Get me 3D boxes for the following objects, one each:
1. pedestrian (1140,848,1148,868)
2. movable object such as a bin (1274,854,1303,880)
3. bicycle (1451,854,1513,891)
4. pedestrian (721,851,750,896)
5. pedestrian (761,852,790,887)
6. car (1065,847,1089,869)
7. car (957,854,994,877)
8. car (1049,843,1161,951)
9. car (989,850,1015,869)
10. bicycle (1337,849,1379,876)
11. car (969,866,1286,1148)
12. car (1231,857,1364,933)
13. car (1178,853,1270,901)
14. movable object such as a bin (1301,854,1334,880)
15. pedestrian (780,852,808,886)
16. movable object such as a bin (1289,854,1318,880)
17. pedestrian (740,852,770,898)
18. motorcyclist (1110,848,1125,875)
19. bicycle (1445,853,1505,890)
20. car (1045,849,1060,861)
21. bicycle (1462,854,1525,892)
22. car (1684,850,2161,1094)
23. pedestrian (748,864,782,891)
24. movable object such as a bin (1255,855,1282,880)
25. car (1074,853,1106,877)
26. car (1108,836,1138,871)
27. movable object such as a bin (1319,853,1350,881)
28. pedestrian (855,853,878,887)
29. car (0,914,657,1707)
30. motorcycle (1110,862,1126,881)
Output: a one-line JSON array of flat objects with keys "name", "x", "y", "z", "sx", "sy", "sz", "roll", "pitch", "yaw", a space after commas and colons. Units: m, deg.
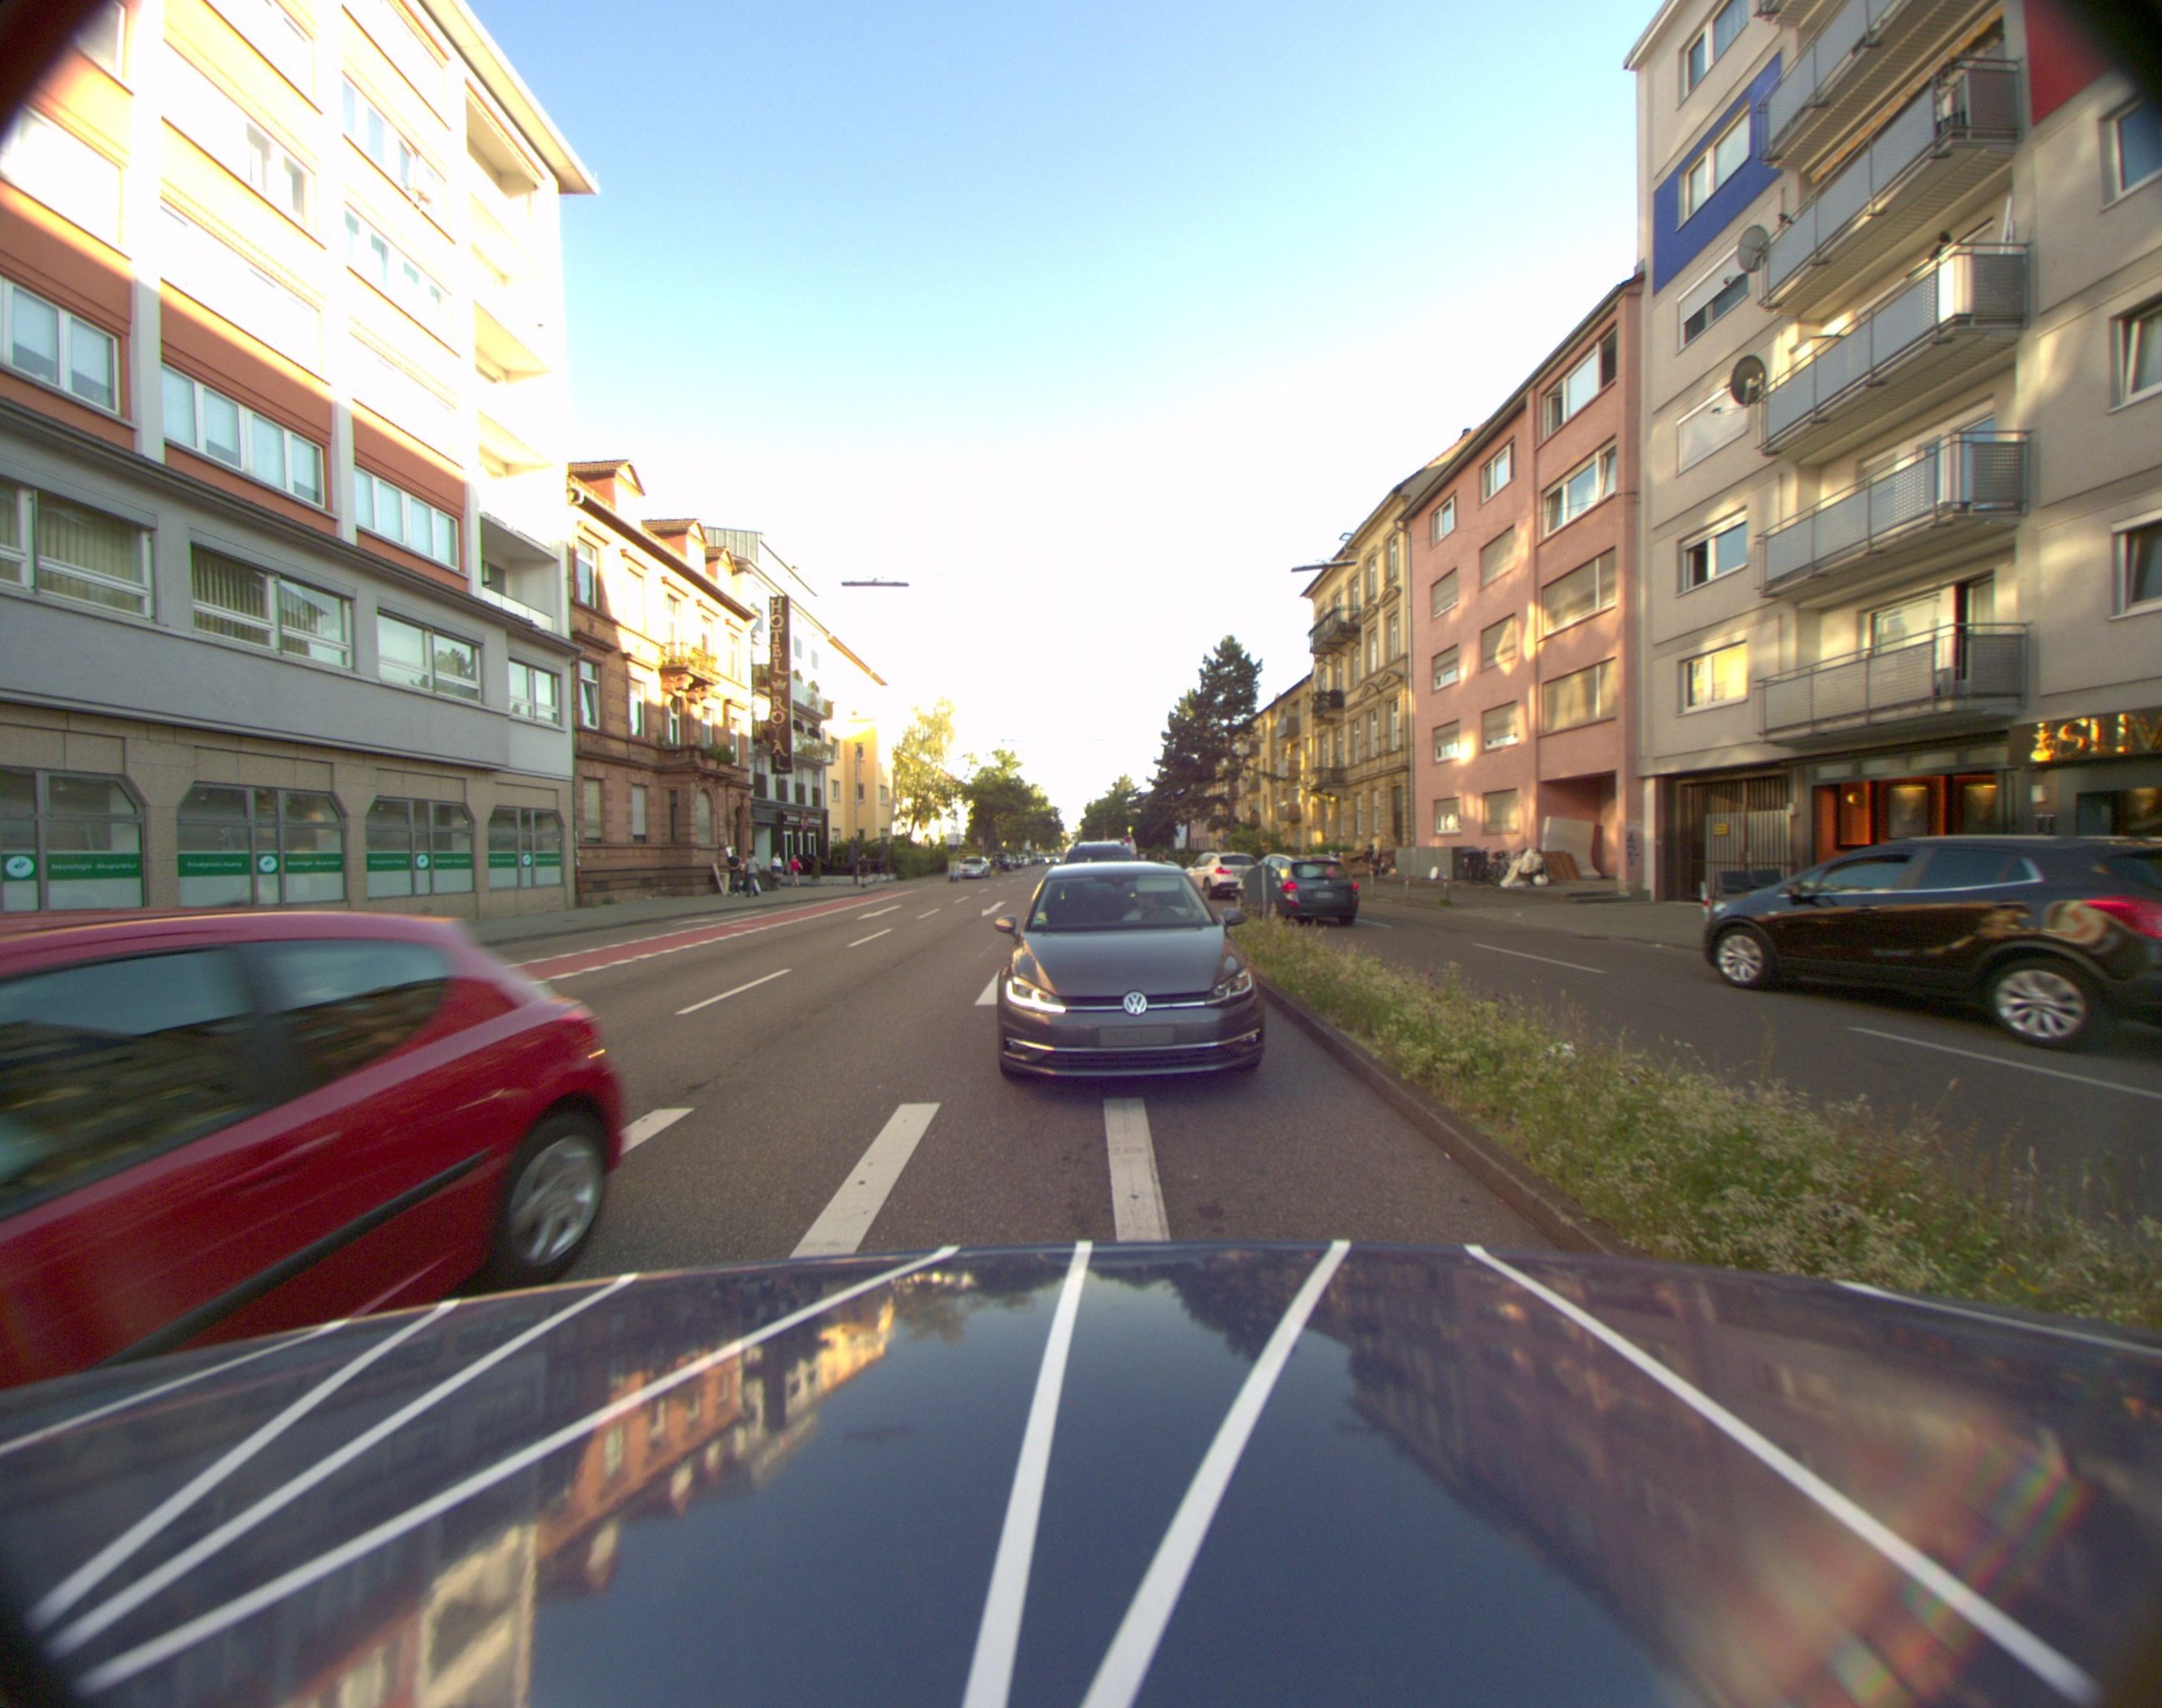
[{"name": "pedestrian", "x": 5.019, "y": 0.324, "z": 60.402, "sx": 0.577, "sy": 1.591, "sz": 0.481, "roll": -1, "pitch": 1, "yaw": 1}, {"name": "movable object such as a bin", "x": 10.332, "y": 0.632, "z": 37.773, "sx": 1.196, "sy": 1.225, "sz": 0.847, "roll": -2, "pitch": 1, "yaw": -40}, {"name": "bicycle", "x": 13.169, "y": 0.596, "z": 24.974, "sx": 1.780, "sy": 1.184, "sz": 0.473, "roll": -1, "pitch": 1, "yaw": -2}, {"name": "pedestrian", "x": -13.398, "y": 0.755, "z": 29.483, "sx": 0.668, "sy": 1.716, "sz": 1.010, "roll": -1, "pitch": 1, "yaw": -5}, {"name": "pedestrian", "x": -14.430, "y": 0.717, "z": 35.937, "sx": 1.008, "sy": 1.579, "sz": 0.789, "roll": 4, "pitch": 1, "yaw": 34}, {"name": "car", "x": -0.405, "y": 0.318, "z": 65.767, "sx": 1.895, "sy": 1.843, "sz": 4.699, "roll": 0, "pitch": 0, "yaw": -2}, {"name": "car", "x": -7.348, "y": 0.780, "z": 53.205, "sx": 1.905, "sy": 1.508, "sz": 4.074, "roll": -1, "pitch": 0, "yaw": 1}, {"name": "car", "x": 0.408, "y": 0.713, "z": 15.159, "sx": 1.895, "sy": 1.843, "sz": 4.466, "roll": 0, "pitch": 0, "yaw": 0}, {"name": "car", "x": -7.150, "y": 0.487, "z": 68.998, "sx": 1.947, "sy": 1.615, "sz": 4.193, "roll": -1, "pitch": 0, "yaw": 0}, {"name": "bicycle", "x": 12.741, "y": 0.393, "z": 34.942, "sx": 1.780, "sy": 1.184, "sz": 0.473, "roll": -1, "pitch": 1, "yaw": -2}, {"name": "car", "x": 0.297, "y": 0.916, "z": 6.508, "sx": 1.770, "sy": 1.450, "sz": 4.269, "roll": -2, "pitch": 1, "yaw": 1}, {"name": "car", "x": 4.678, "y": 0.814, "z": 16.986, "sx": 1.596, "sy": 1.462, "sz": 3.984, "roll": 0, "pitch": 0, "yaw": -4}, {"name": "car", "x": 4.731, "y": 0.700, "z": 25.728, "sx": 1.758, "sy": 1.479, "sz": 4.245, "roll": 0, "pitch": 0, "yaw": -9}, {"name": "movable object such as a bin", "x": 11.251, "y": 0.612, "z": 36.173, "sx": 1.295, "sy": 1.225, "sz": 0.926, "roll": -2, "pitch": 1, "yaw": -40}, {"name": "pedestrian", "x": -13.799, "y": 0.729, "z": 36.551, "sx": 1.008, "sy": 1.579, "sz": 0.740, "roll": 4, "pitch": 1, "yaw": 35}, {"name": "movable object such as a bin", "x": 10.860, "y": 0.619, "z": 37.068, "sx": 1.196, "sy": 1.225, "sz": 0.847, "roll": -2, "pitch": 1, "yaw": -40}, {"name": "pedestrian", "x": -12.609, "y": 0.795, "z": 29.416, "sx": 0.668, "sy": 1.716, "sz": 1.011, "roll": -1, "pitch": 1, "yaw": -1}, {"name": "motorcyclist", "x": 2.018, "y": 0.400, "z": 41.713, "sx": 0.750, "sy": 1.433, "sz": 0.958, "roll": 0, "pitch": 1, "yaw": -1}, {"name": "bicycle", "x": 13.249, "y": 0.586, "z": 25.553, "sx": 1.780, "sy": 1.184, "sz": 0.473, "roll": -1, "pitch": 1, "yaw": -2}, {"name": "car", "x": -4.017, "y": 0.124, "z": 108.523, "sx": 1.907, "sy": 1.532, "sz": 3.999, "roll": -1, "pitch": 1, "yaw": 0}, {"name": "bicycle", "x": 13.147, "y": 0.598, "z": 24.240, "sx": 1.780, "sy": 1.184, "sz": 0.473, "roll": -1, "pitch": 1, "yaw": -2}, {"name": "car", "x": 8.018, "y": 0.787, "z": 6.930, "sx": 1.724, "sy": 1.619, "sz": 4.102, "roll": 0, "pitch": 0, "yaw": -1}, {"name": "pedestrian", "x": -13.719, "y": 1.013, "z": 33.013, "sx": 1.100, "sy": 1.129, "sz": 0.924, "roll": -1, "pitch": 1, "yaw": -2}, {"name": "movable object such as a bin", "x": 9.468, "y": 0.660, "z": 38.269, "sx": 0.847, "sy": 1.225, "sz": 1.196, "roll": 0, "pitch": 1, "yaw": 42}, {"name": "car", "x": 0.590, "y": 0.681, "z": 50.234, "sx": 1.597, "sy": 1.533, "sz": 3.401, "roll": 0, "pitch": 1, "yaw": -8}, {"name": "car", "x": 3.358, "y": -0.053, "z": 61.350, "sx": 2.136, "sy": 2.740, "sz": 4.465, "roll": 0, "pitch": 1, "yaw": 0}, {"name": "movable object such as a bin", "x": 11.824, "y": 0.600, "z": 35.428, "sx": 1.196, "sy": 1.225, "sz": 0.847, "roll": -2, "pitch": 1, "yaw": -40}, {"name": "pedestrian", "x": -10.438, "y": 0.763, "z": 37.029, "sx": 0.738, "sy": 1.593, "sz": 1.011, "roll": 2, "pitch": 1, "yaw": 4}, {"name": "car", "x": -2.793, "y": 1.052, "z": 1.400, "sx": 1.674, "sy": 1.454, "sz": 3.999, "roll": -2, "pitch": 1, "yaw": 1}, {"name": "motorcycle", "x": 2.027, "y": 0.940, "z": 41.731, "sx": 0.750, "sy": 0.957, "sz": 2.048, "roll": 0, "pitch": 0, "yaw": -1}]
